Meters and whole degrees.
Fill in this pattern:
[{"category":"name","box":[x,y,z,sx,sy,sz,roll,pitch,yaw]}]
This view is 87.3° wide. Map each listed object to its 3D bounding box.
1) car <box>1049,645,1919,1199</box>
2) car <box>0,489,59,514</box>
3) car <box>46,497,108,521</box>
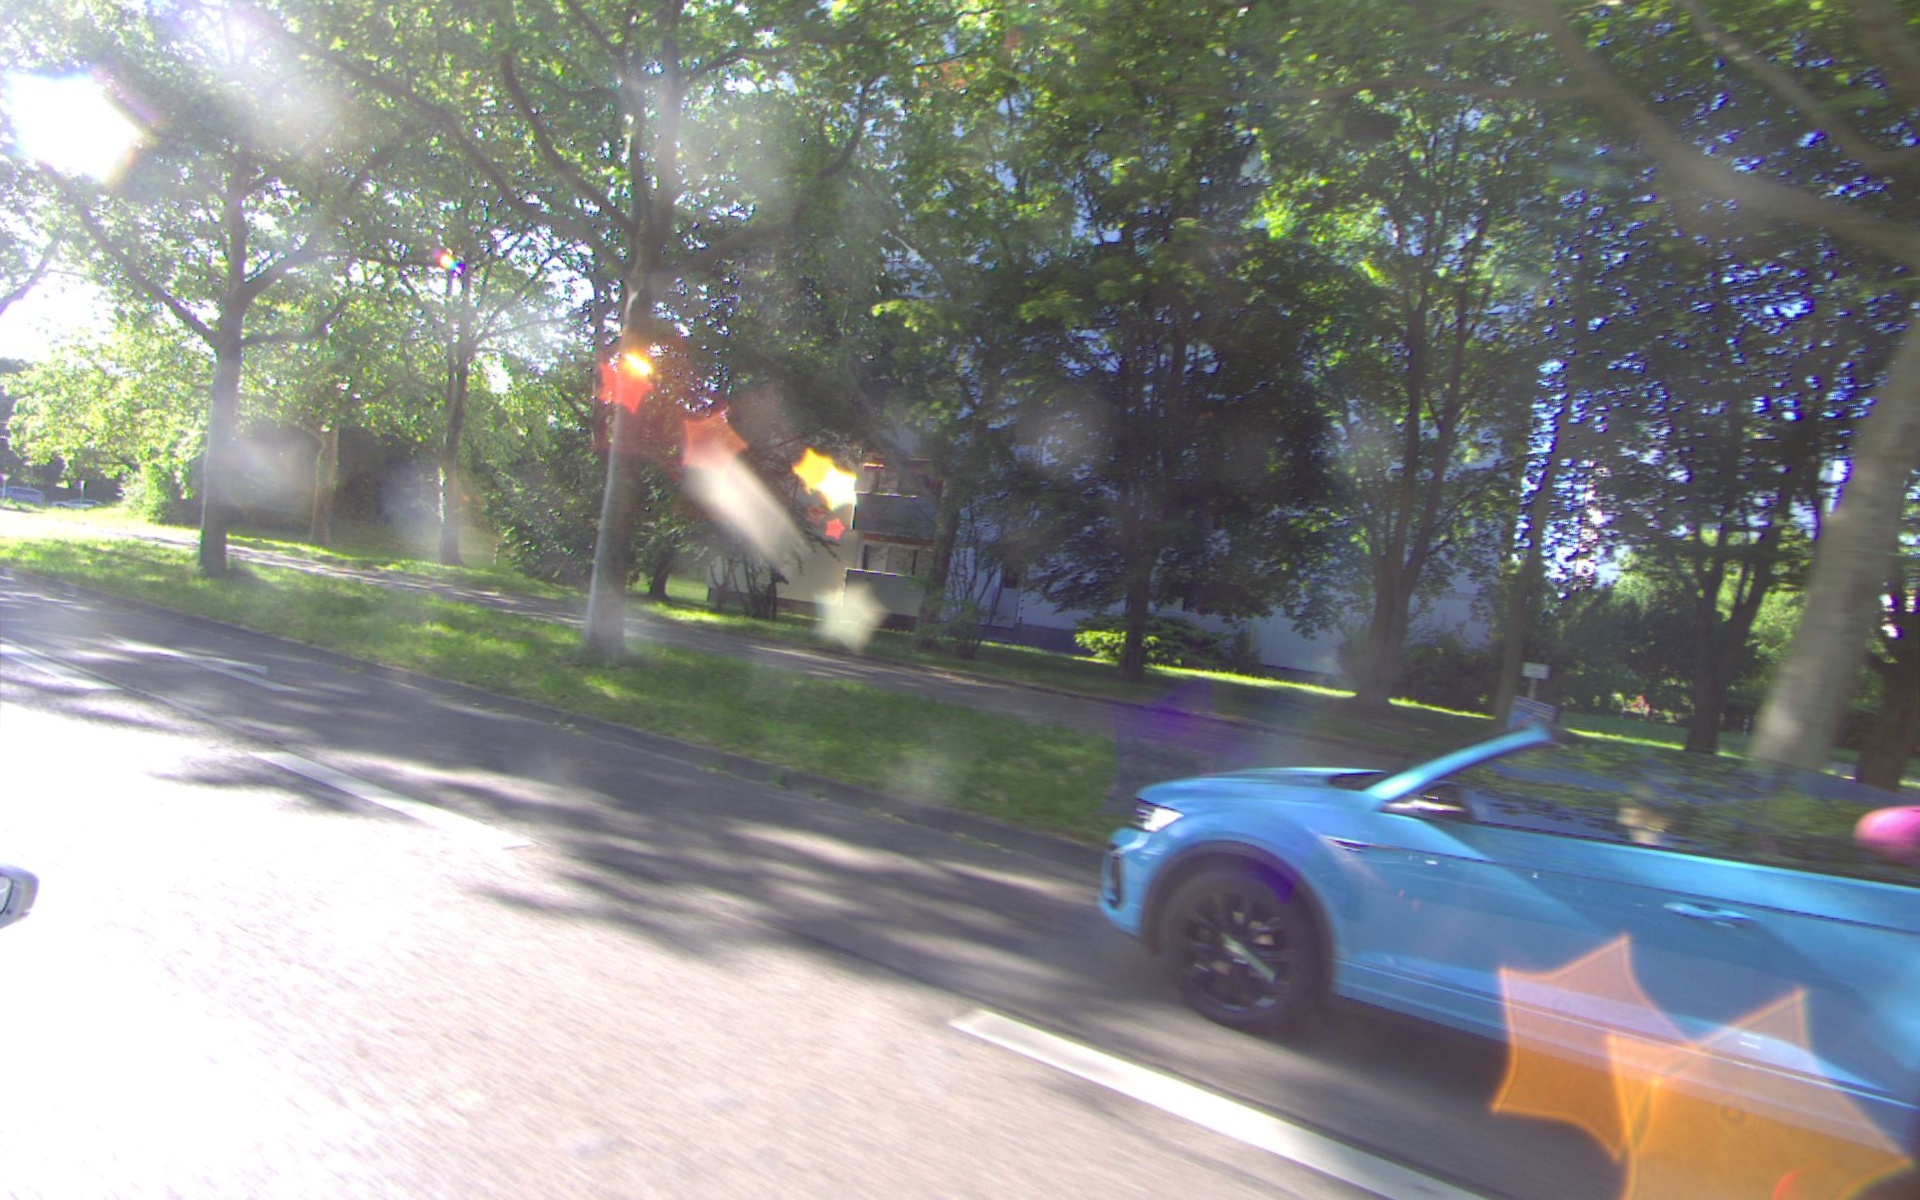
[{"category":"car","box":[2.653,1.241,4.314,4.034,1.501,1.778,7,-1,34]},{"category":"car","box":[-83.322,-8.807,89.475,4.326,1.577,1.856,9,-2,-34]},{"category":"car","box":[-82.183,-8.441,93.656,3.961,1.512,1.846,9,-2,-32]}]
